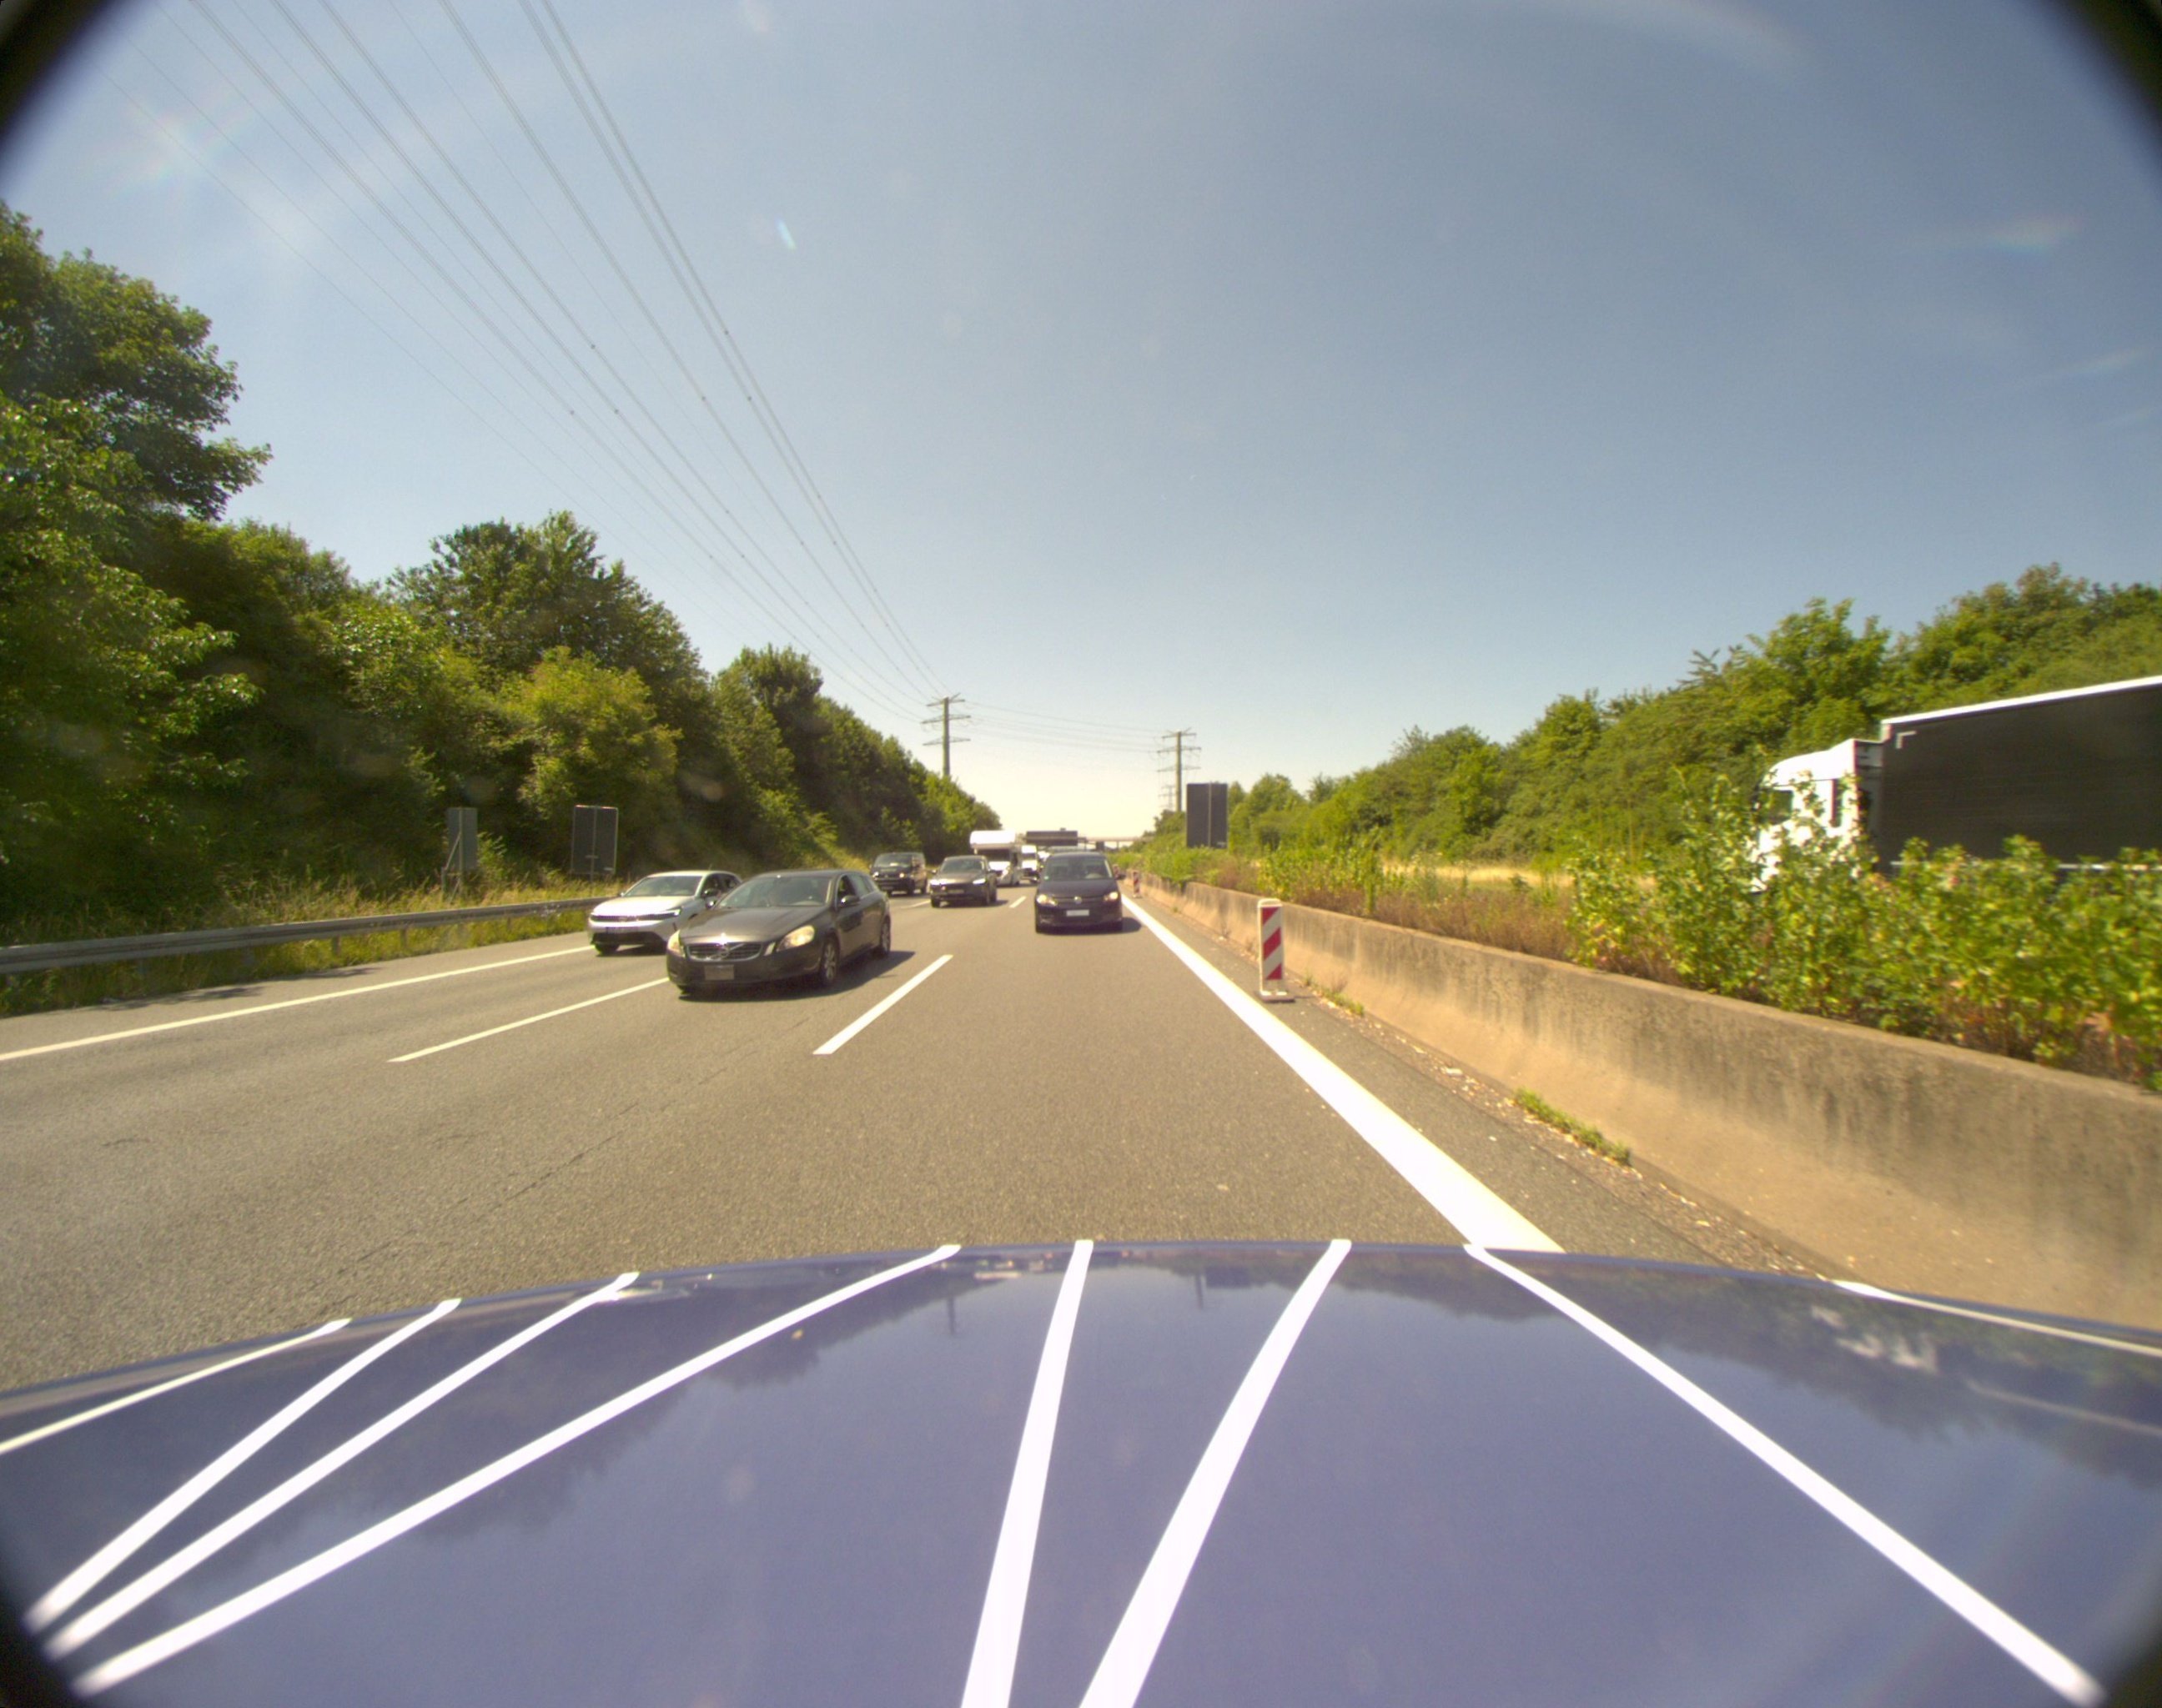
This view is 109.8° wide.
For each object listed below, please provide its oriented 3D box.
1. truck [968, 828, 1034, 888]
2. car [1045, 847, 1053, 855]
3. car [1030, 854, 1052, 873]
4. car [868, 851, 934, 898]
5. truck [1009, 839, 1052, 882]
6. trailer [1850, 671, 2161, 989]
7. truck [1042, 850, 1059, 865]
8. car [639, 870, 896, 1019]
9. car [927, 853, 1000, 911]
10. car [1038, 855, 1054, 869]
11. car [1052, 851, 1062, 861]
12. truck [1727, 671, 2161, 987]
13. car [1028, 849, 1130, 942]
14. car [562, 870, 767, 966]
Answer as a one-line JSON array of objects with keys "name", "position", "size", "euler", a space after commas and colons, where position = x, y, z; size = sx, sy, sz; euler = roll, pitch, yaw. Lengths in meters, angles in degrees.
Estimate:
[{"name": "truck", "position": [-4.439, 0.183, 43.967], "size": [2.514, 2.997, 9.897], "euler": [-2, 0, 1]}, {"name": "car", "position": [-8.596, -0.825, 205.505], "size": [1.998, 2.002, 3.999], "euler": [-2, 1, 0]}, {"name": "car", "position": [-3.770, 0.867, 71.376], "size": [1.892, 1.693, 4.382], "euler": [-2, 1, -2]}, {"name": "car", "position": [-8.029, 0.856, 34.357], "size": [1.788, 1.893, 4.697], "euler": [-2, 1, 0]}, {"name": "truck", "position": [-3.801, 0.417, 59.543], "size": [2.514, 2.997, 9.897], "euler": [-2, 0, 1]}, {"name": "trailer", "position": [15.447, -0.253, 6.685], "size": [2.760, 4.143, 14.195], "euler": [2, 0, 0]}, {"name": "truck", "position": [-4.978, 0.560, 126.179], "size": [2.409, 2.203, 6.743], "euler": [-2, 1, 1]}, {"name": "car", "position": [-3.910, 1.022, 10.357], "size": [1.801, 1.429, 4.230], "euler": [-2, 0, -2]}, {"name": "car", "position": [-3.906, 0.874, 25.948], "size": [1.892, 1.693, 4.382], "euler": [-2, 1, -2]}, {"name": "car", "position": [-4.294, 0.975, 93.849], "size": [1.892, 1.693, 4.382], "euler": [-2, 1, -2]}, {"name": "car", "position": [-4.958, 0.404, 158.315], "size": [1.998, 2.002, 3.999], "euler": [-2, 1, 0]}, {"name": "truck", "position": [15.422, -0.296, 13.178], "size": [2.758, 4.143, 6.410], "euler": [2, 1, 0]}, {"name": "car", "position": [-0.101, 0.774, 16.660], "size": [1.892, 1.693, 4.382], "euler": [-2, 1, -2]}, {"name": "car", "position": [-7.857, 1.118, 14.838], "size": [1.745, 1.461, 4.013], "euler": [-2, 0, 0]}]
